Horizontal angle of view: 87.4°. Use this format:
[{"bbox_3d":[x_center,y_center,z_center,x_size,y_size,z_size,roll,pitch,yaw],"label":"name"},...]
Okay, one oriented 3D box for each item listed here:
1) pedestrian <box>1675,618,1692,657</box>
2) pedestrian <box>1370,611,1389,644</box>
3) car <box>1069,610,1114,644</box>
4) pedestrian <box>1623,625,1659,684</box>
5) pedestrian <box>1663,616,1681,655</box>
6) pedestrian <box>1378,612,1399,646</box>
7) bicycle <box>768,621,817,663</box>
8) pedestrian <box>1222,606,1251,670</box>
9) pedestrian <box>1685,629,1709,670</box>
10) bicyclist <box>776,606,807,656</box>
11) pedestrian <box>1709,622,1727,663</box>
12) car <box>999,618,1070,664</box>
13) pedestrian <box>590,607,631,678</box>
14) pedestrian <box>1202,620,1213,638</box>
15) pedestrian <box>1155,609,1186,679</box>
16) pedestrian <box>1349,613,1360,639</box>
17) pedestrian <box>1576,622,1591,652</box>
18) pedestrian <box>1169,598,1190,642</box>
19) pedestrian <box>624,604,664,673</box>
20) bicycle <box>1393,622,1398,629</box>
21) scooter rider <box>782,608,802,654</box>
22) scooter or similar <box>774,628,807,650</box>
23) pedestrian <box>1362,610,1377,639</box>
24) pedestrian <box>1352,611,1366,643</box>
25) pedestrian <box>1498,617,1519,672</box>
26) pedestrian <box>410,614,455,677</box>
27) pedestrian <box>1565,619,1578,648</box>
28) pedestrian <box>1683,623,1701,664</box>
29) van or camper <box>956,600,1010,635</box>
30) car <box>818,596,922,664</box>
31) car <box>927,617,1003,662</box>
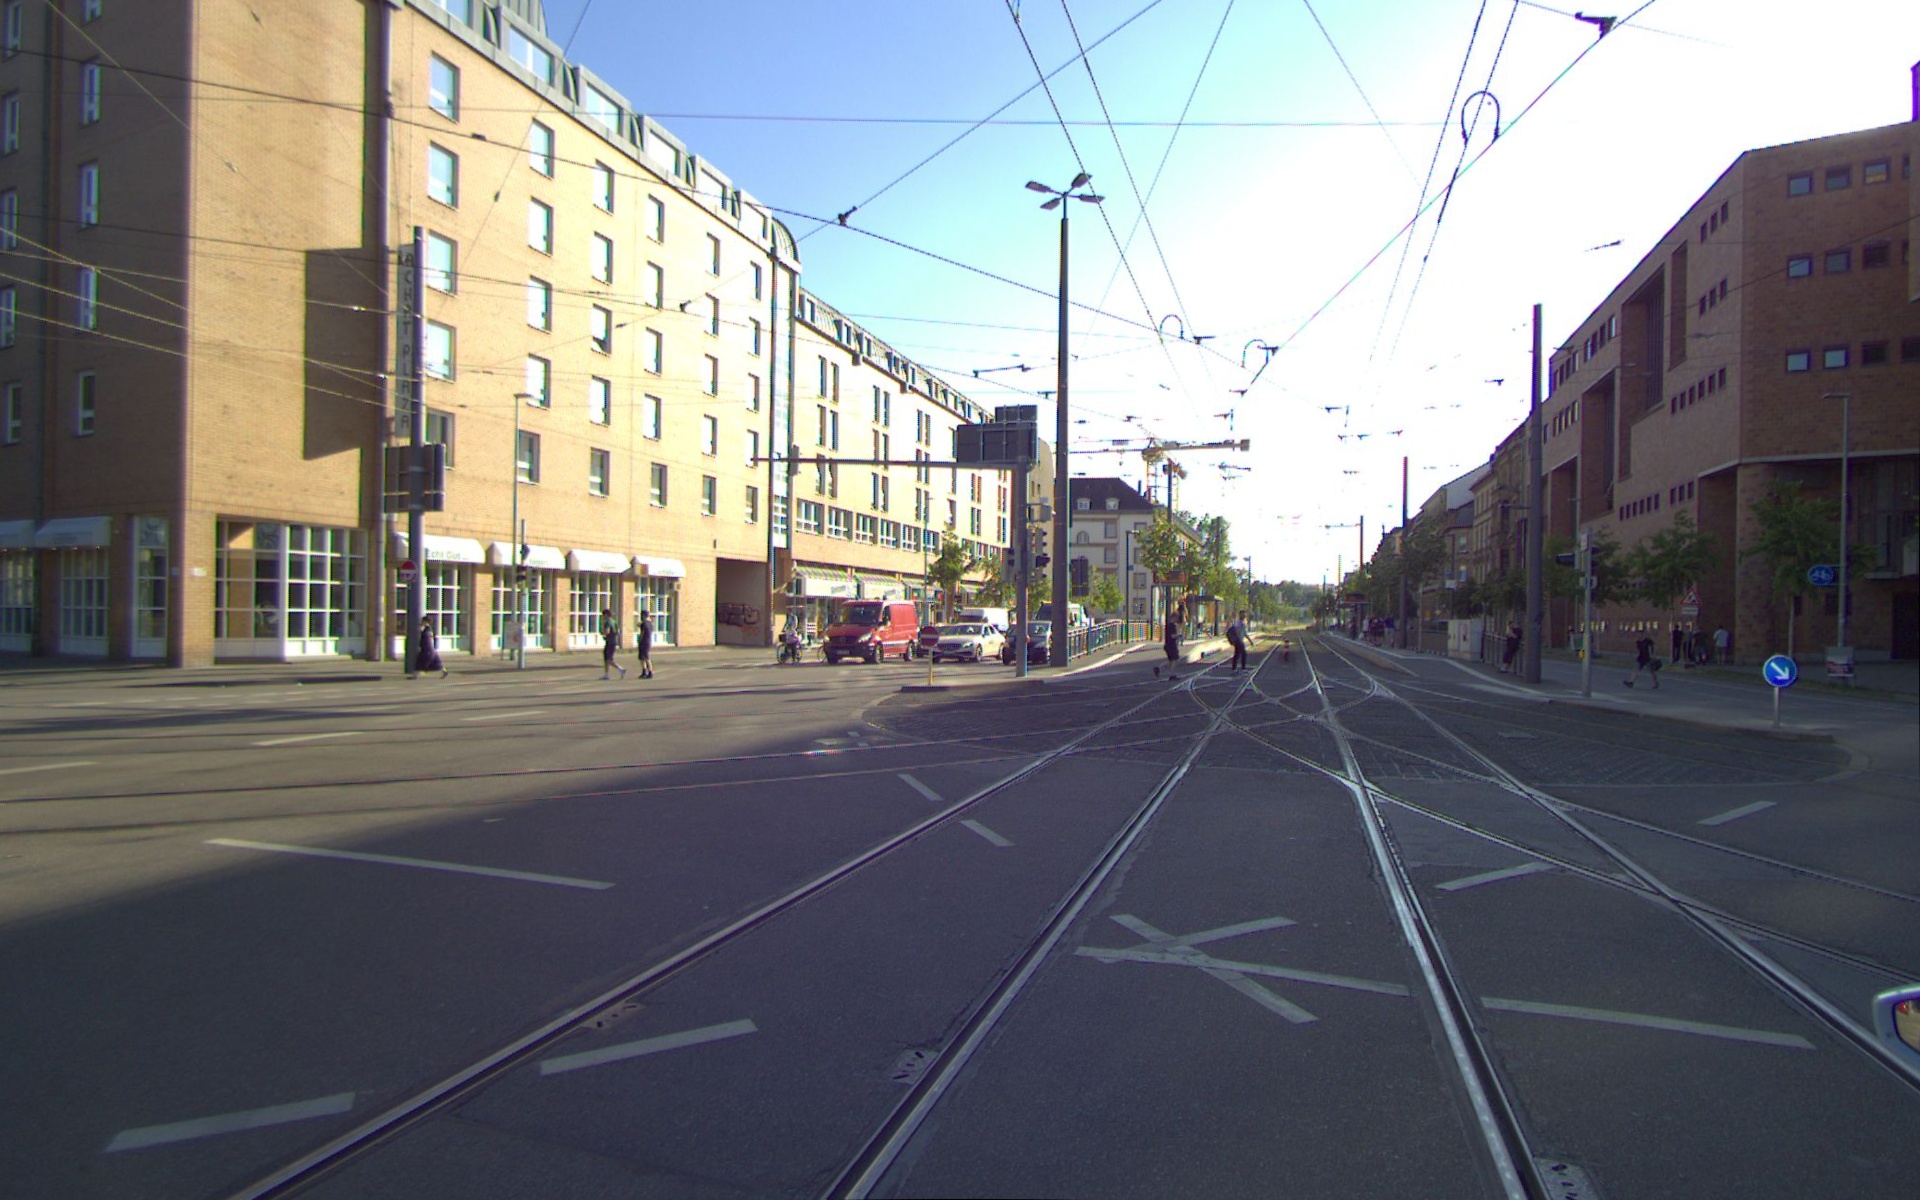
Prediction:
[{"bbox_3d":[33.445,1.746,46.411,0.527,1.779,0.422,1,-1,20],"label":"pedestrian"},{"bbox_3d":[22.593,1.476,54.111,0.873,1.694,1.096,1,-1,17],"label":"pedestrian"},{"bbox_3d":[7.942,1.591,60.275,1.854,1.892,4.316,0,0,18],"label":"car"},{"bbox_3d":[18.598,1.482,27.449,0.702,1.559,0.851,0,-1,27],"label":"pedestrian"},{"bbox_3d":[32.657,1.628,46.062,0.527,1.779,0.465,1,-1,17],"label":"pedestrian"},{"bbox_3d":[21.670,1.470,50.816,0.873,1.694,0.672,1,-1,17],"label":"pedestrian"},{"bbox_3d":[-6.132,1.517,36.890,0.914,1.461,2.104,1,-1,18],"label":"bicycle"},{"bbox_3d":[7.773,1.062,28.227,0.628,1.740,0.778,1,-1,3],"label":"pedestrian"},{"bbox_3d":[32.187,2.161,43.863,0.691,1.779,0.725,1,-1,-44],"label":"pedestrian"},{"bbox_3d":[-6.187,1.128,36.929,0.801,1.810,0.816,1,-1,18],"label":"bicyclist"},{"bbox_3d":[33.044,1.855,43.779,0.528,1.779,0.694,1,-1,29],"label":"pedestrian"},{"bbox_3d":[2.730,1.427,35.933,1.727,1.467,4.001,0,0,17],"label":"car"},{"bbox_3d":[-8.847,1.065,25.427,0.773,1.740,0.633,1,-1,-43],"label":"pedestrian"},{"bbox_3d":[17.019,1.972,69.003,0.661,1.205,0.906,1,-1,18],"label":"pedestrian"},{"bbox_3d":[5.277,1.092,25.211,0.612,1.724,0.750,1,-1,0],"label":"pedestrian"},{"bbox_3d":[27.337,1.818,69.612,0.707,1.755,0.651,1,-1,18],"label":"pedestrian"},{"bbox_3d":[36.445,2.151,58.755,0.561,1.736,0.642,1,-1,13],"label":"pedestrian"},{"bbox_3d":[8.474,0.772,38.819,0.666,1.706,0.576,1,-1,23],"label":"pedestrian"},{"bbox_3d":[-8.219,0.993,26.095,0.773,1.740,0.633,1,-1,-43],"label":"pedestrian"},{"bbox_3d":[82.289,4.804,189.699,0.650,1.421,2.352,0,0,18],"label":"bicycle"},{"bbox_3d":[-6.641,1.216,39.652,0.526,1.778,0.568,0,-1,40],"label":"scooter rider"},{"bbox_3d":[-6.688,1.513,39.579,0.537,0.842,1.233,0,-1,40],"label":"scooter or similar"},{"bbox_3d":[21.076,1.252,51.672,0.671,1.503,0.828,1,-1,22],"label":"pedestrian"},{"bbox_3d":[21.737,1.468,54.683,0.645,1.694,0.672,1,-1,17],"label":"pedestrian"},{"bbox_3d":[15.840,1.277,28.993,0.482,1.559,0.550,0,-1,33],"label":"pedestrian"},{"bbox_3d":[-13.430,1.146,25.597,0.853,1.574,0.545,1,0,-8],"label":"pedestrian"},{"bbox_3d":[37.796,2.044,62.118,0.527,1.779,0.422,1,-1,5],"label":"pedestrian"},{"bbox_3d":[32.716,1.936,44.901,0.528,1.779,0.694,1,-1,29],"label":"pedestrian"},{"bbox_3d":[1.600,1.128,67.638,1.961,2.199,5.614,1,1,20],"label":"van or camper"},{"bbox_3d":[-3.239,1.090,37.473,2.043,2.319,5.267,1,-1,17],"label":"car"},{"bbox_3d":[0.249,1.451,38.217,1.854,1.553,4.001,0,0,17],"label":"car"}]
